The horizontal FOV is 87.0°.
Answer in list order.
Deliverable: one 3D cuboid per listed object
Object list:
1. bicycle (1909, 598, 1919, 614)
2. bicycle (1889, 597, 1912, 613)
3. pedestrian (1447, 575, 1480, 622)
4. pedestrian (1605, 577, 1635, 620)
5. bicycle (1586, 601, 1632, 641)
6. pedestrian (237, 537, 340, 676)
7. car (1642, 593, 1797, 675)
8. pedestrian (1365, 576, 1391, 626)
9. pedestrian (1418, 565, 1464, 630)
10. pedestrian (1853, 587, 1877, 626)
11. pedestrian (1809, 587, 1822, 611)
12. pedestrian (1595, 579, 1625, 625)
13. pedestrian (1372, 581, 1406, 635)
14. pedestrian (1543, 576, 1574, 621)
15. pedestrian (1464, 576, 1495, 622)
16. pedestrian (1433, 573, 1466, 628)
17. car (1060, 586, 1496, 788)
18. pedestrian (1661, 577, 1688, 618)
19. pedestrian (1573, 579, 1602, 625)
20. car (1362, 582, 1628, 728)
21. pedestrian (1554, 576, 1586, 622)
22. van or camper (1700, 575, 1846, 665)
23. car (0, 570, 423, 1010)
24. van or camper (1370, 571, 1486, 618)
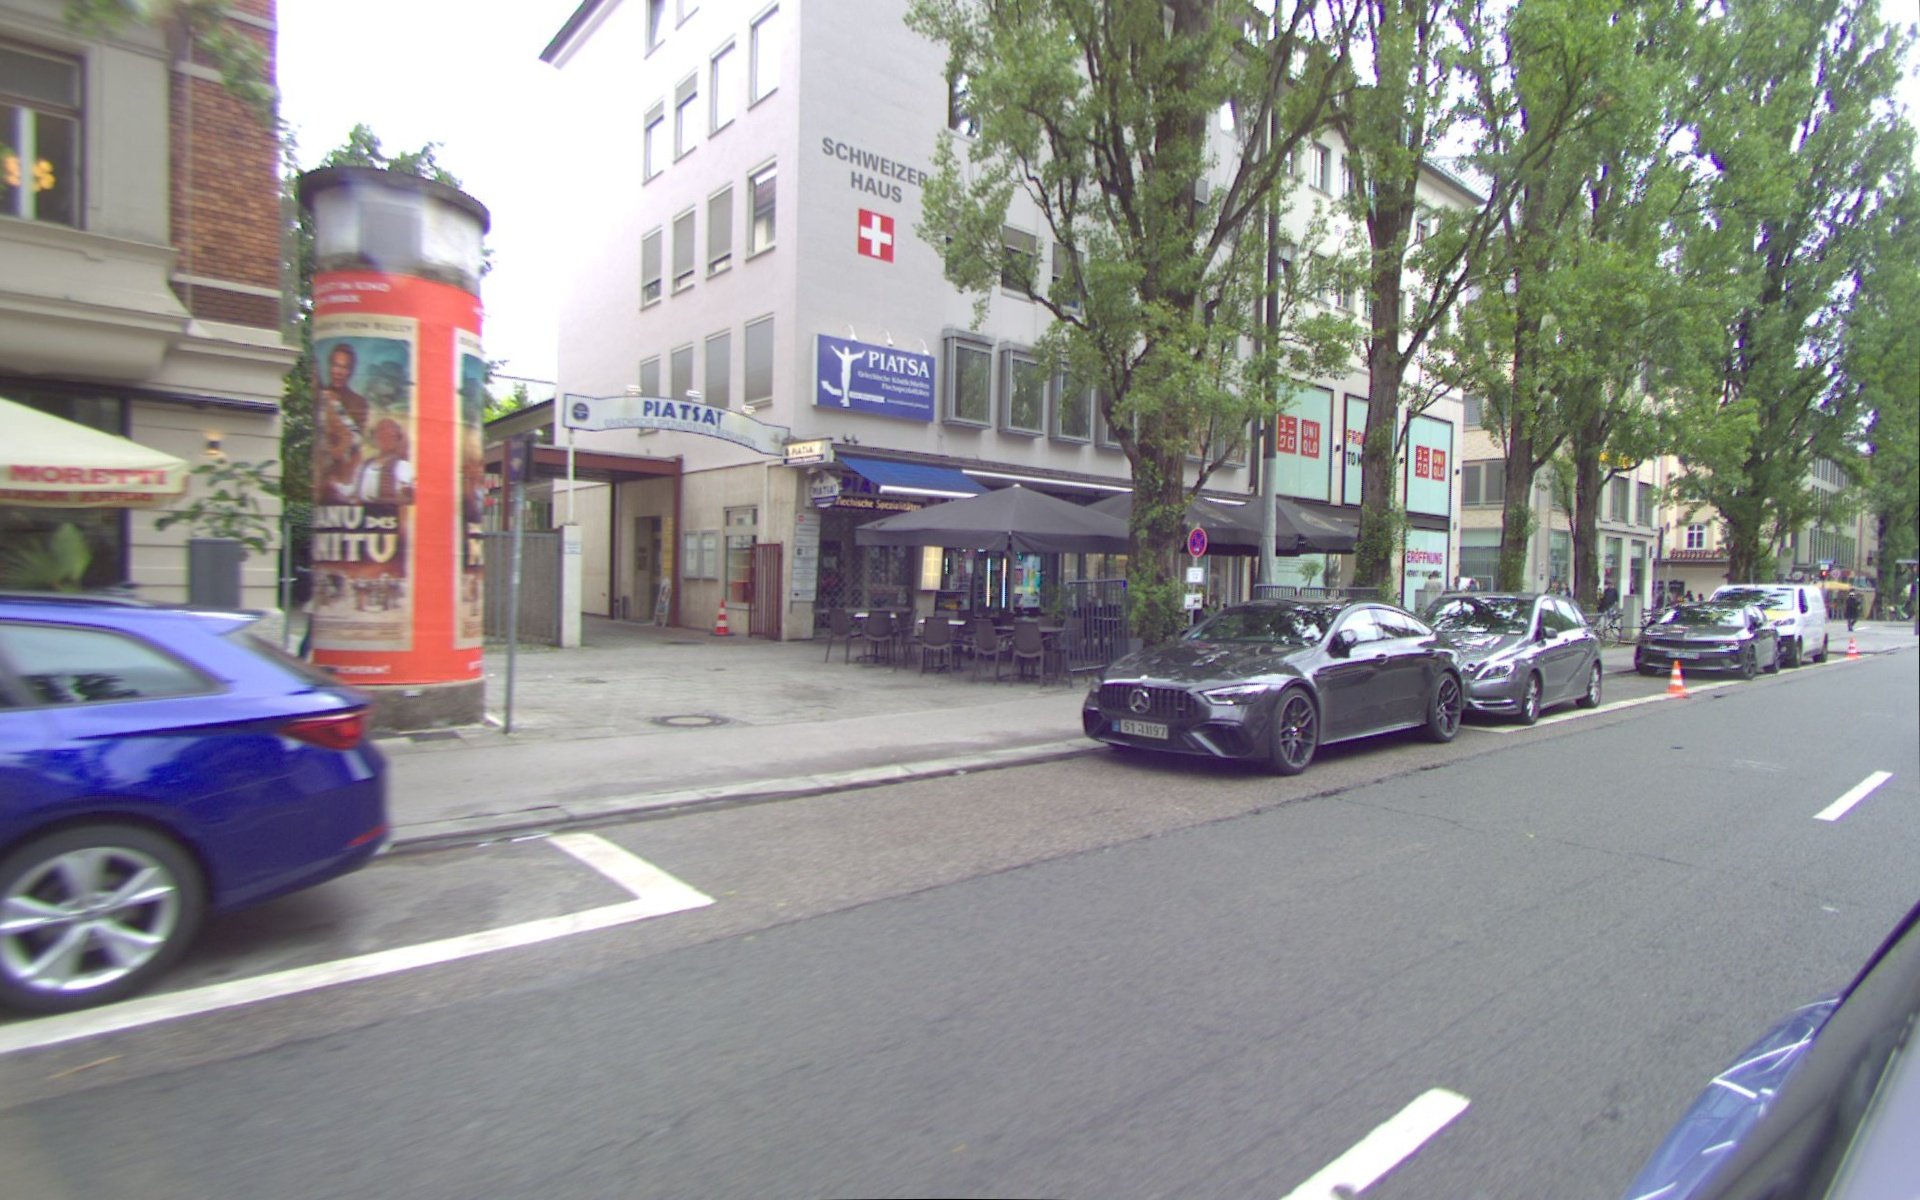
[{"bbox_3d":[64.726,0.395,68.538,1.740,1.061,0.509,0,2,-43],"label":"bicycle"},{"bbox_3d":[62.439,0.329,67.186,1.774,1.084,0.406,0,-4,-25],"label":"bicycle"},{"bbox_3d":[19.167,-0.071,38.521,0.946,1.739,0.751,0,1,-40],"label":"pedestrian"},{"bbox_3d":[28.356,-0.070,43.477,0.875,1.840,0.819,0,1,-42],"label":"pedestrian"},{"bbox_3d":[17.857,0.568,27.843,1.697,1.051,0.366,0,1,-33],"label":"bicycle"},{"bbox_3d":[-8.252,0.061,12.441,0.973,1.629,0.730,0,2,-40],"label":"pedestrian"},{"bbox_3d":[15.112,0.599,20.059,4.280,1.460,1.721,0,0,-43],"label":"car"},{"bbox_3d":[13.880,0.023,33.625,0.662,1.629,0.825,1,1,15],"label":"pedestrian"},{"bbox_3d":[13.999,-0.081,29.456,1.080,1.864,0.828,0,1,-41],"label":"pedestrian"},{"bbox_3d":[42.528,0.292,47.536,0.739,1.780,0.710,0,1,-39],"label":"pedestrian"},{"bbox_3d":[59.785,-0.073,70.729,0.526,1.694,0.542,1,1,-34],"label":"pedestrian"},{"bbox_3d":[25.614,0.062,39.900,0.844,1.779,0.752,-2,3,-39],"label":"pedestrian"},{"bbox_3d":[12.987,0.229,30.654,0.757,1.629,0.672,0,0,-38],"label":"pedestrian"},{"bbox_3d":[23.632,-0.059,39.949,0.945,1.739,0.752,0,1,-39],"label":"pedestrian"},{"bbox_3d":[19.275,-0.048,37.549,0.946,1.683,0.653,0,1,-40],"label":"pedestrian"},{"bbox_3d":[16.316,0.003,33.756,0.852,1.786,0.683,0,1,-42],"label":"pedestrian"},{"bbox_3d":[3.258,0.627,9.784,4.722,1.450,1.881,0,2,-42],"label":"car"},{"bbox_3d":[33.147,-0.110,46.930,0.875,1.840,0.819,0,1,-42],"label":"pedestrian"},{"bbox_3d":[25.113,0.055,40.516,0.844,1.779,0.752,-2,3,-39],"label":"pedestrian"},{"bbox_3d":[6.975,0.571,13.005,4.163,1.525,1.818,0,2,-44],"label":"car"},{"bbox_3d":[23.337,-0.052,38.711,0.945,1.698,0.752,0,1,-39],"label":"pedestrian"},{"bbox_3d":[19.255,0.406,23.889,4.818,1.906,1.872,0,1,-41],"label":"van or camper"},{"bbox_3d":[-4.411,0.615,3.313,4.391,1.422,1.751,0,2,-44],"label":"car"},{"bbox_3d":[19.742,-0.233,42.841,1.863,1.890,4.116,0,1,-36],"label":"van or camper"}]
